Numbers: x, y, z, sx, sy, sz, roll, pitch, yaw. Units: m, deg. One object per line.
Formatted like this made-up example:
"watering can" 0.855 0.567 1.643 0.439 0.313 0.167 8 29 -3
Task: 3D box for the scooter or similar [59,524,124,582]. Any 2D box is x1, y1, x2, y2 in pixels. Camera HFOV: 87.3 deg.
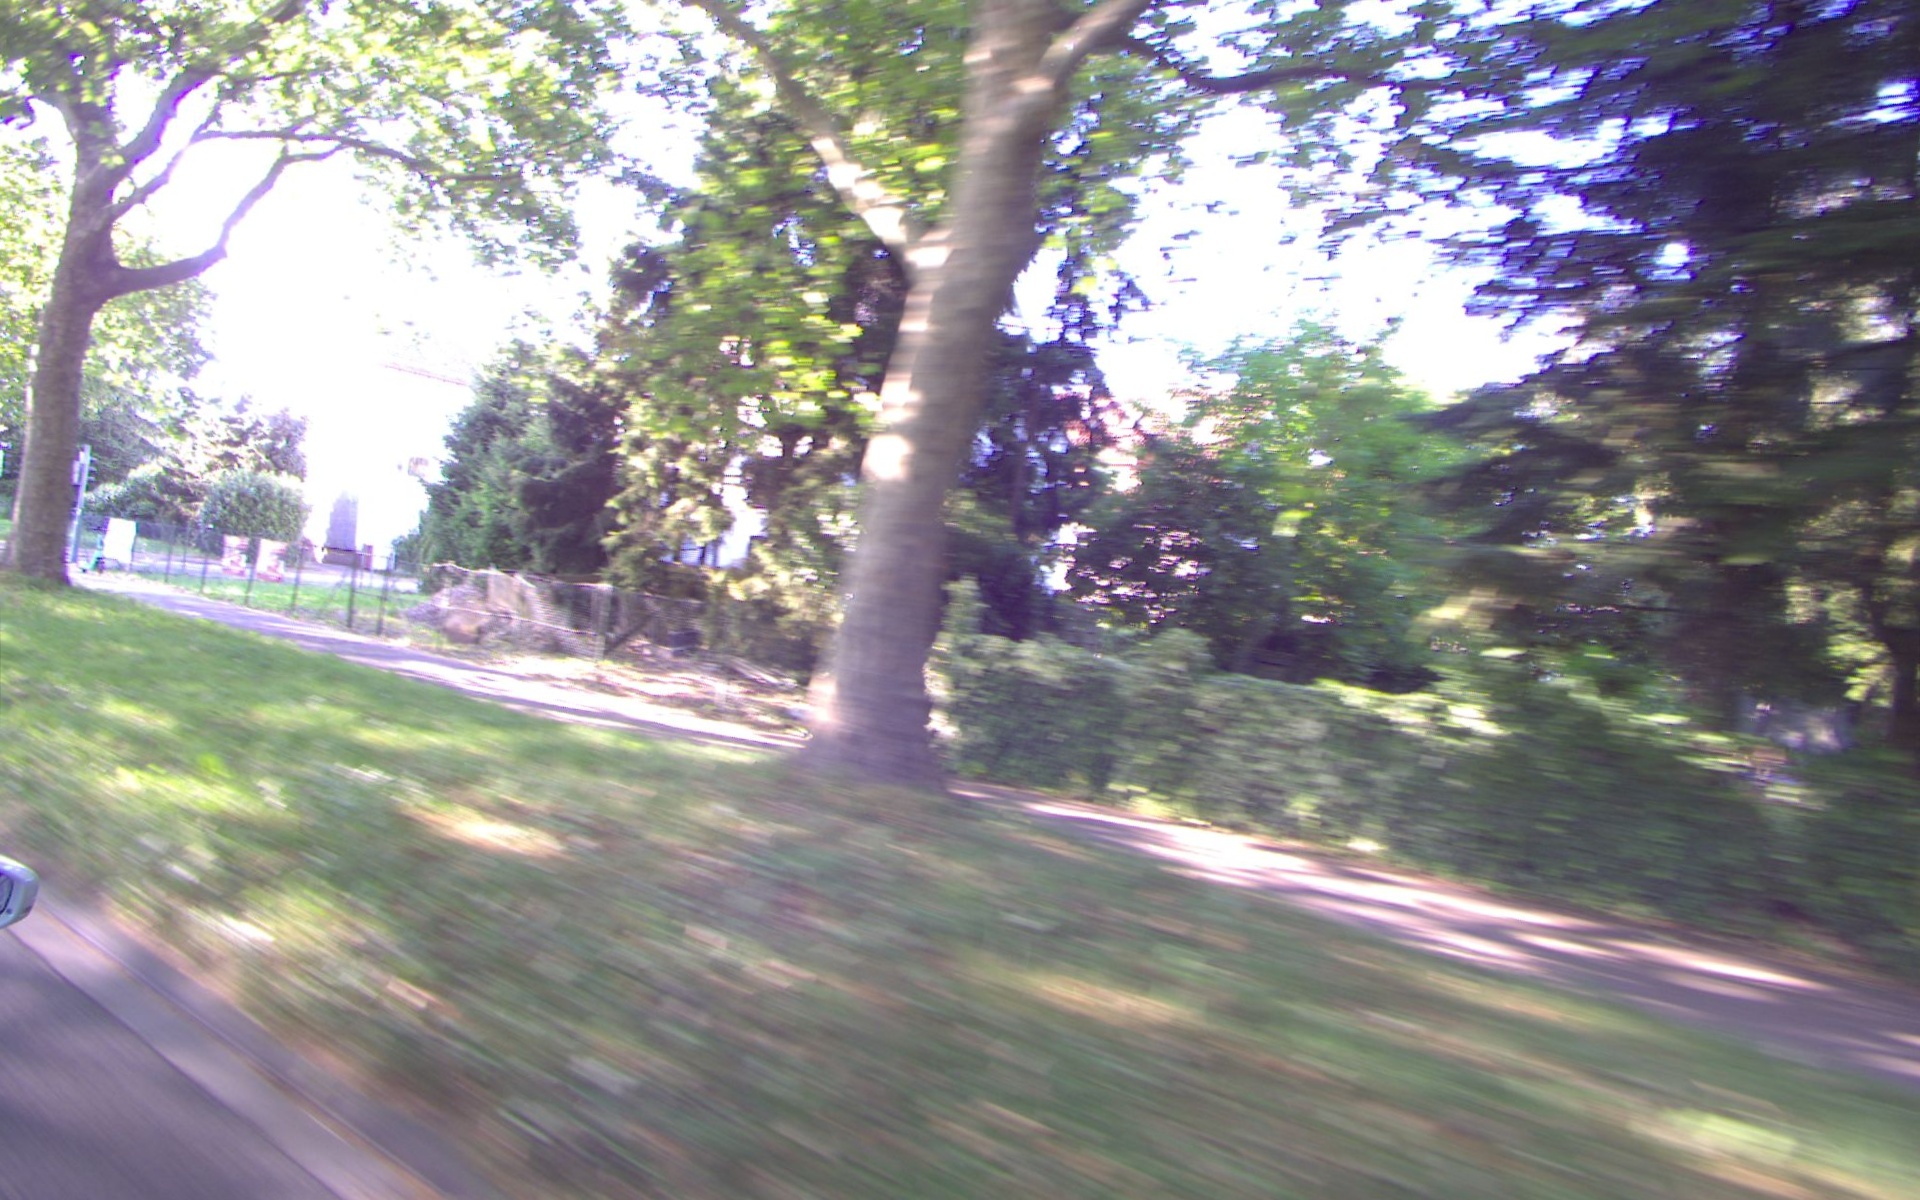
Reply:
"scooter or similar" -21.857 -1.197 25.309 2.276 1.273 0.550 5 -1 34
